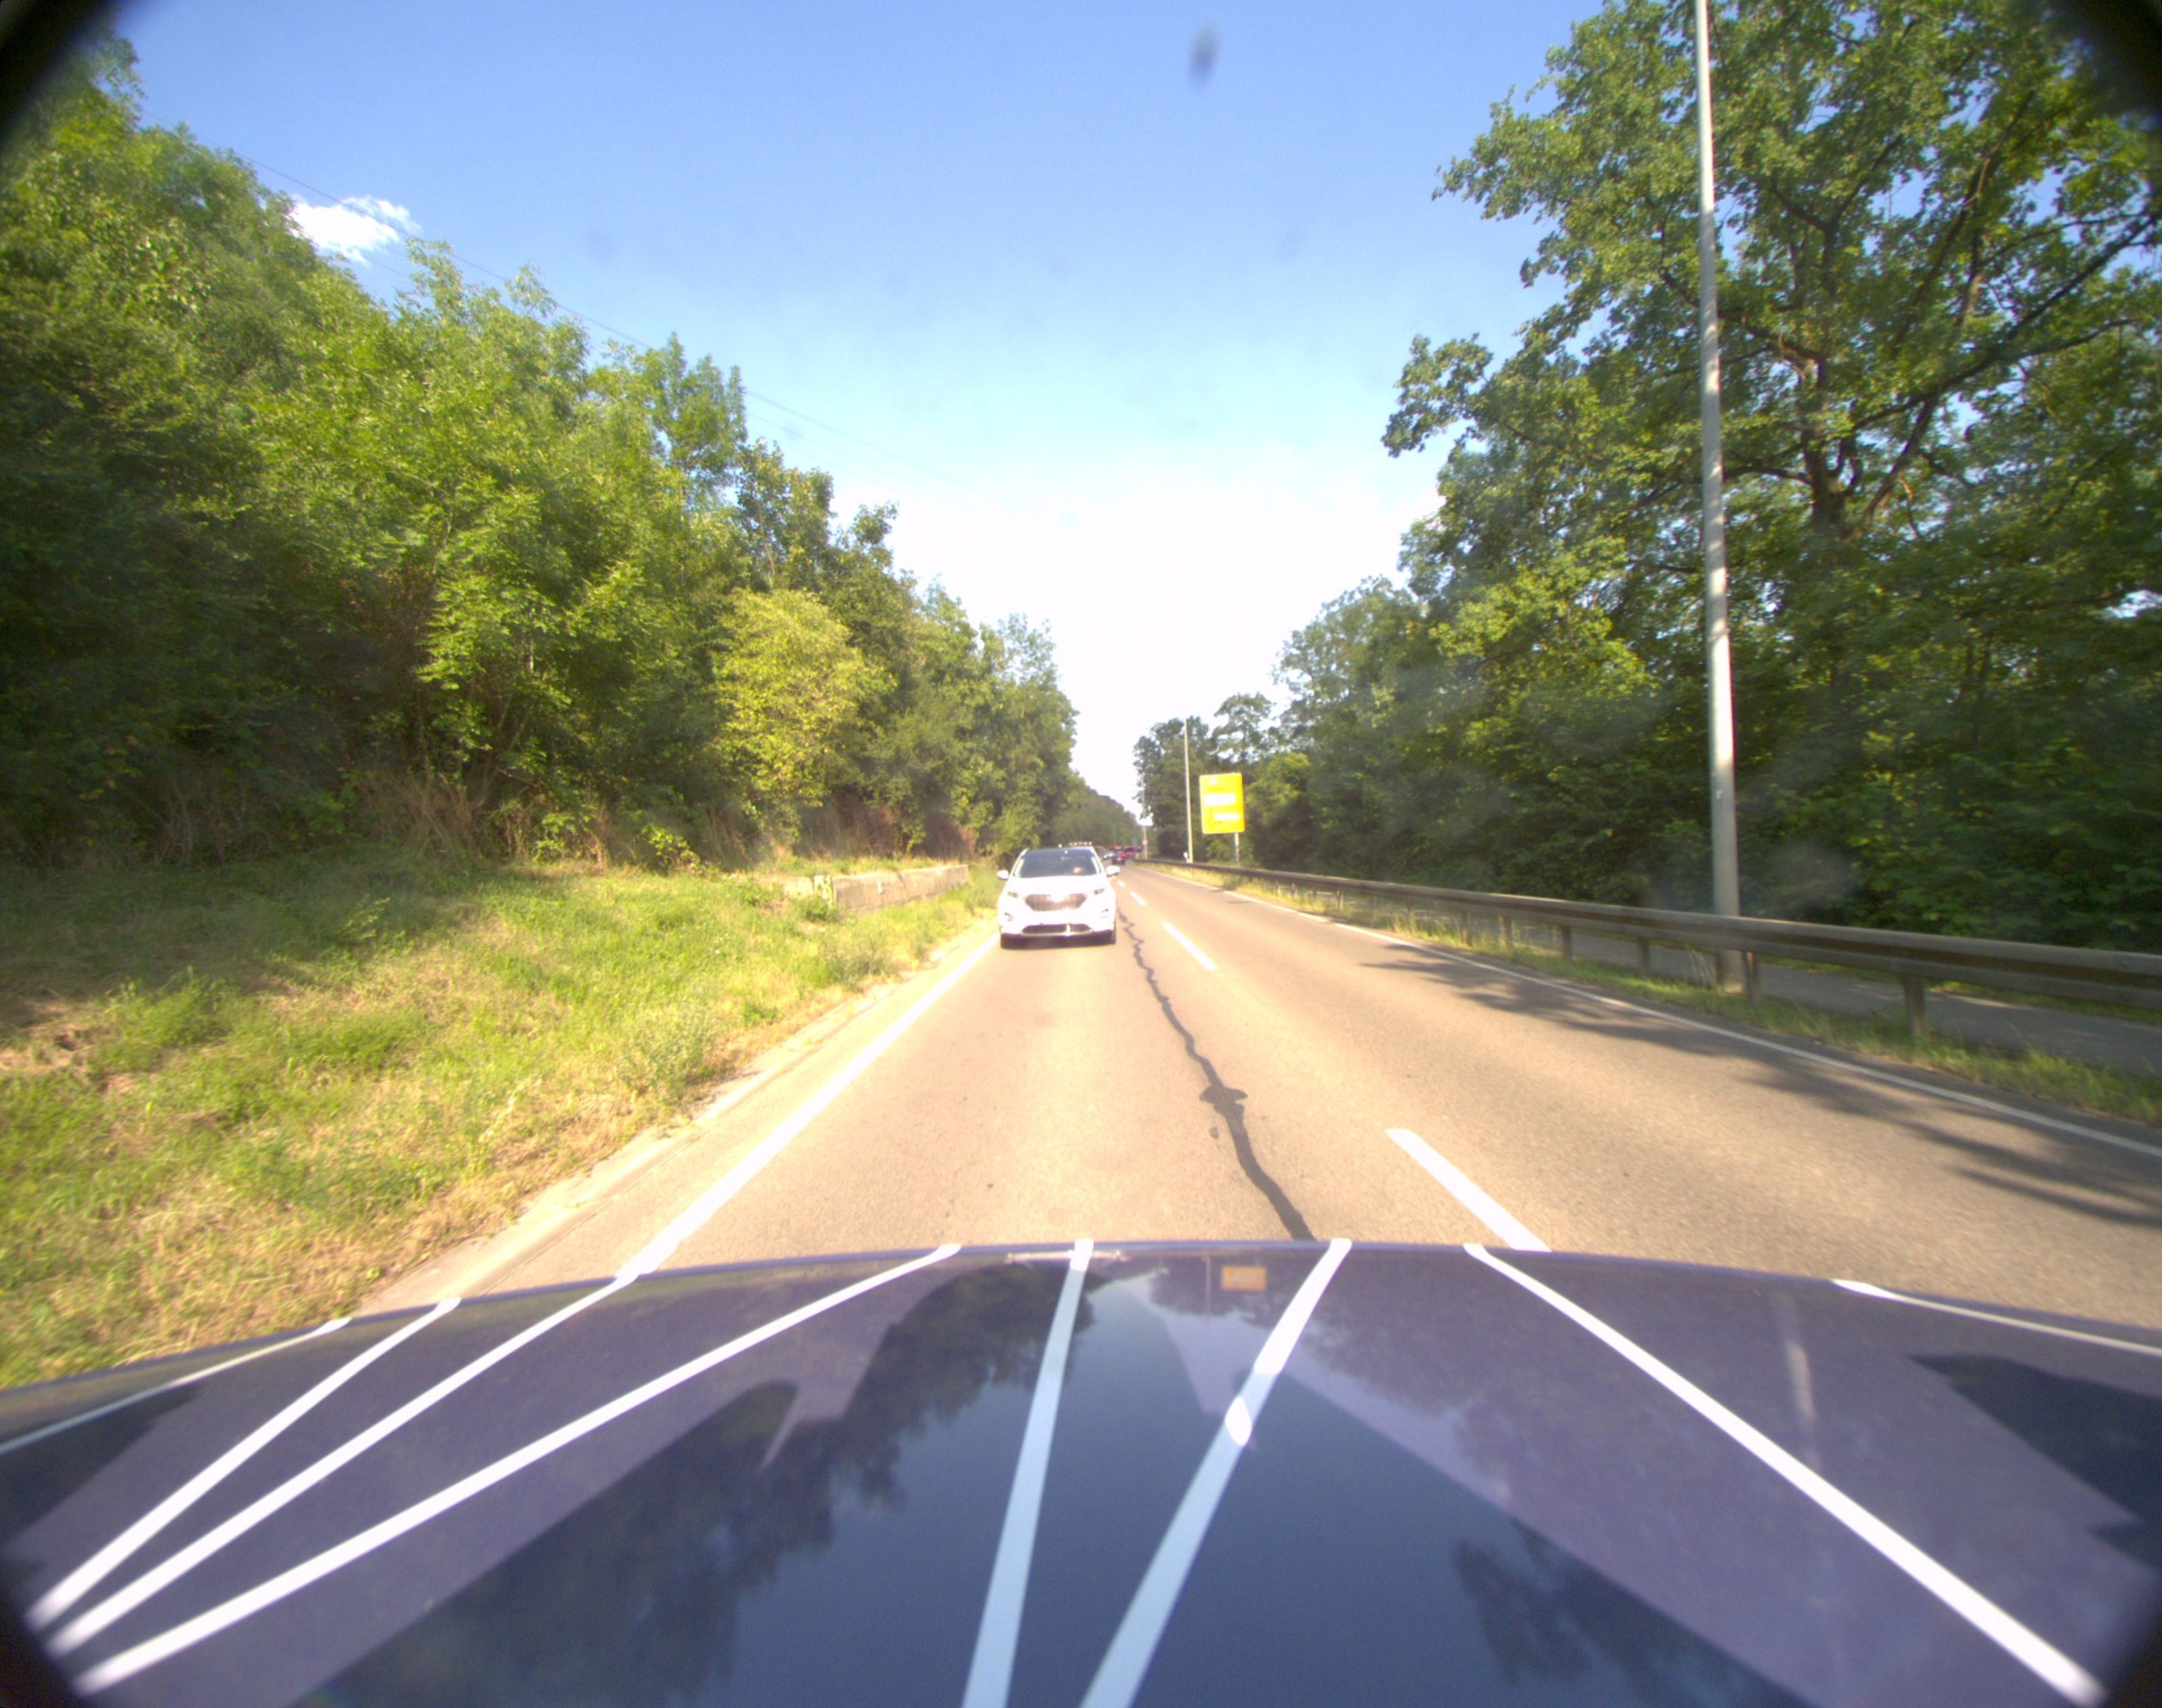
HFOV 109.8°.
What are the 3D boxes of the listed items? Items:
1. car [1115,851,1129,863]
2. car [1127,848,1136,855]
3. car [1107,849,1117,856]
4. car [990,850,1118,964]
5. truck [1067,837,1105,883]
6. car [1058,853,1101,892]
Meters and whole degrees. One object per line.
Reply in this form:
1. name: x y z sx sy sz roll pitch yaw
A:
1. car: 5.354 0.394 100.187 1.695 1.412 4.142 -1 1 2
2. car: 10.881 -0.523 162.811 1.685 1.434 4.001 -2 1 6
3. car: 7.408 -0.318 182.729 1.997 1.647 4.002 -1 0 8
4. car: -0.380 0.802 13.739 1.894 1.691 4.136 -2 0 1
5. truck: 0.302 0.306 42.875 1.894 2.334 5.273 -2 0 1
6. car: -0.024 0.760 32.668 1.704 1.477 4.136 -2 0 1
